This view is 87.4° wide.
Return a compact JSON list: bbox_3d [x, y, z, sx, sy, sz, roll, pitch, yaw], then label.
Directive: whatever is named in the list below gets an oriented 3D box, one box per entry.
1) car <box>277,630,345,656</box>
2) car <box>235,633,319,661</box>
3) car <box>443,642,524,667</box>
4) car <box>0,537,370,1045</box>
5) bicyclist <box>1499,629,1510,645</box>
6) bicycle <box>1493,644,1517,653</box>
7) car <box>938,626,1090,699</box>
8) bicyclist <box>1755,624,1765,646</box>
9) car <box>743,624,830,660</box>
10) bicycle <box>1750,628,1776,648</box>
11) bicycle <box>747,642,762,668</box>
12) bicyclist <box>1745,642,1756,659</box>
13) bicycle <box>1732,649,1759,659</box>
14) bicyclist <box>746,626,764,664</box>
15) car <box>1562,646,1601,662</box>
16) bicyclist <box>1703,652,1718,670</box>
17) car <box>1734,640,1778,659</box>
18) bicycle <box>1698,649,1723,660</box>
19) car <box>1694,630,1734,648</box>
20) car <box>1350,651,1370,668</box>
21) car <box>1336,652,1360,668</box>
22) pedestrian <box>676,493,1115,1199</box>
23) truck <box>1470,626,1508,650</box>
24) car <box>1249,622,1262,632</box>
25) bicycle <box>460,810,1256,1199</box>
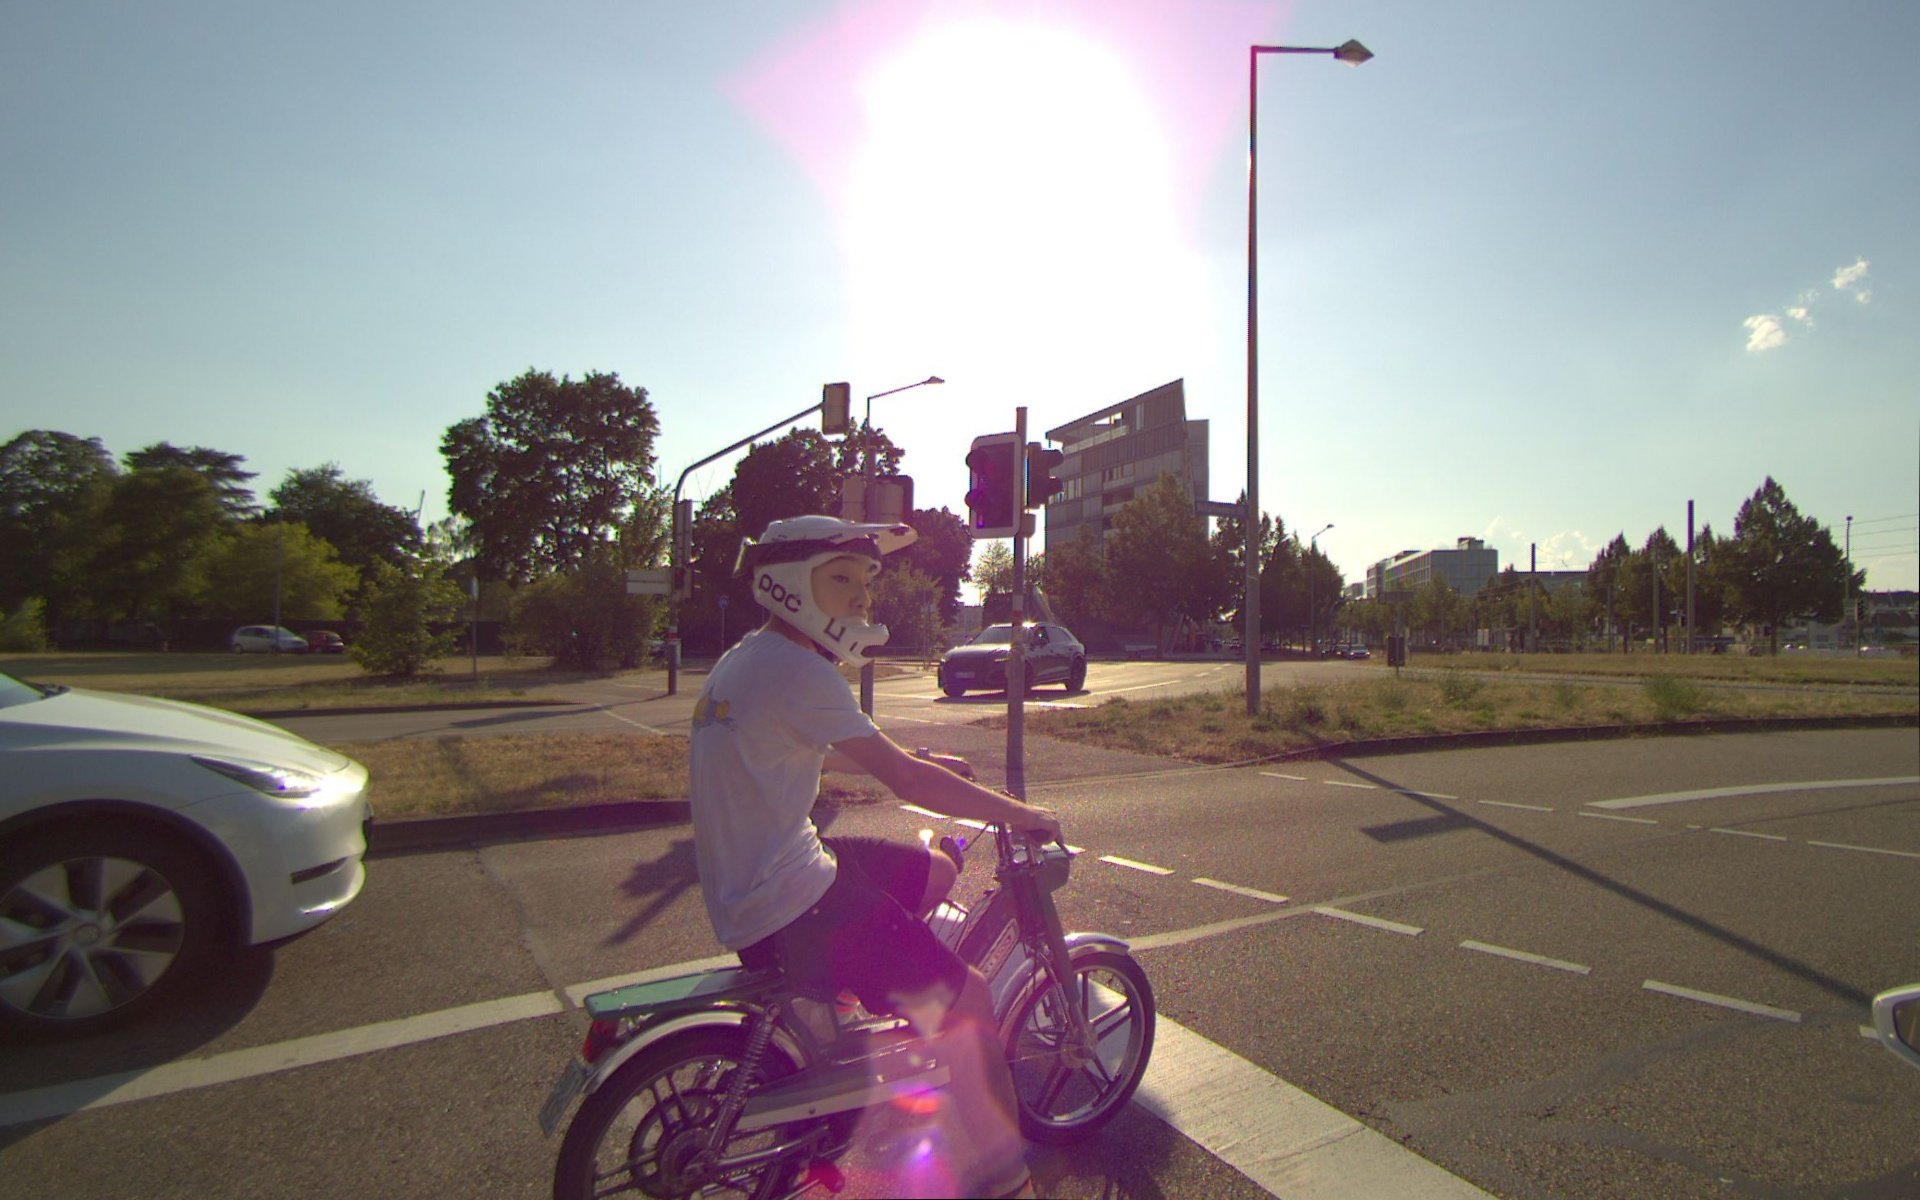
[{"bbox_3d":[-40.420,2.690,62.588,3.308,1.567,1.584,0,-2,9],"label":"car"},{"bbox_3d":[-38.713,2.632,56.978,3.863,1.545,1.658,0,-2,9],"label":"car"},{"bbox_3d":[-30.232,3.464,63.851,4.315,1.545,1.656,0,-2,-2],"label":"car"},{"bbox_3d":[-4.608,0.578,3.160,4.630,1.620,1.724,2,-1,-35],"label":"car"},{"bbox_3d":[45.488,3.065,83.914,0.641,1.343,0.519,0,-1,14],"label":"bicyclist"},{"bbox_3d":[45.533,4.079,83.946,1.687,0.754,0.481,0,-2,15],"label":"bicycle"},{"bbox_3d":[1.376,1.412,23.556,1.624,1.532,4.635,-2,-3,30],"label":"car"},{"bbox_3d":[62.309,2.701,78.206,0.599,1.694,0.476,0,-2,36],"label":"bicyclist"},{"bbox_3d":[-10.076,2.465,58.522,4.727,2.040,2.000,0,-2,-3],"label":"car"},{"bbox_3d":[62.424,2.958,78.097,1.519,1.493,0.478,-1,-2,36],"label":"bicycle"},{"bbox_3d":[-8.653,2.311,42.317,0.360,1.046,1.439,0,-2,-2],"label":"bicycle"},{"bbox_3d":[62.309,3.956,79.144,0.644,1.343,0.517,-1,-2,38],"label":"bicyclist"},{"bbox_3d":[62.019,4.226,79.317,1.694,0.754,0.479,-1,-2,37],"label":"bicycle"},{"bbox_3d":[-8.650,1.900,42.431,0.629,1.576,0.630,0,-1,-1],"label":"bicyclist"},{"bbox_3d":[51.624,4.451,83.439,2.625,1.278,1.113,-1,-2,27],"label":"car"},{"bbox_3d":[59.947,4.870,80.232,0.941,1.375,0.691,-1,-2,34],"label":"bicyclist"},{"bbox_3d":[87.895,5.454,110.985,1.960,2.040,4.002,0,-2,5],"label":"car"},{"bbox_3d":[59.924,4.356,80.243,1.592,0.871,0.543,-1,-2,35],"label":"bicycle"},{"bbox_3d":[89.317,4.628,119.030,1.960,2.040,4.002,0,-2,5],"label":"car"},{"bbox_3d":[36.595,5.445,91.968,1.455,1.495,3.301,0,-2,17],"label":"car"},{"bbox_3d":[38.802,5.953,100.456,1.960,1.495,4.002,0,-2,17],"label":"car"},{"bbox_3d":[-0.165,0.582,2.395,0.844,1.539,0.653,1,-2,-30],"label":"pedestrian"},{"bbox_3d":[74.667,5.366,141.909,3.074,3.273,7.178,0,-2,14],"label":"truck"},{"bbox_3d":[47.002,4.308,159.848,1.753,1.576,4.002,2,0,14],"label":"car"},{"bbox_3d":[-0.136,1.054,2.361,1.834,0.887,0.475,1,-2,-31],"label":"bicycle"}]
